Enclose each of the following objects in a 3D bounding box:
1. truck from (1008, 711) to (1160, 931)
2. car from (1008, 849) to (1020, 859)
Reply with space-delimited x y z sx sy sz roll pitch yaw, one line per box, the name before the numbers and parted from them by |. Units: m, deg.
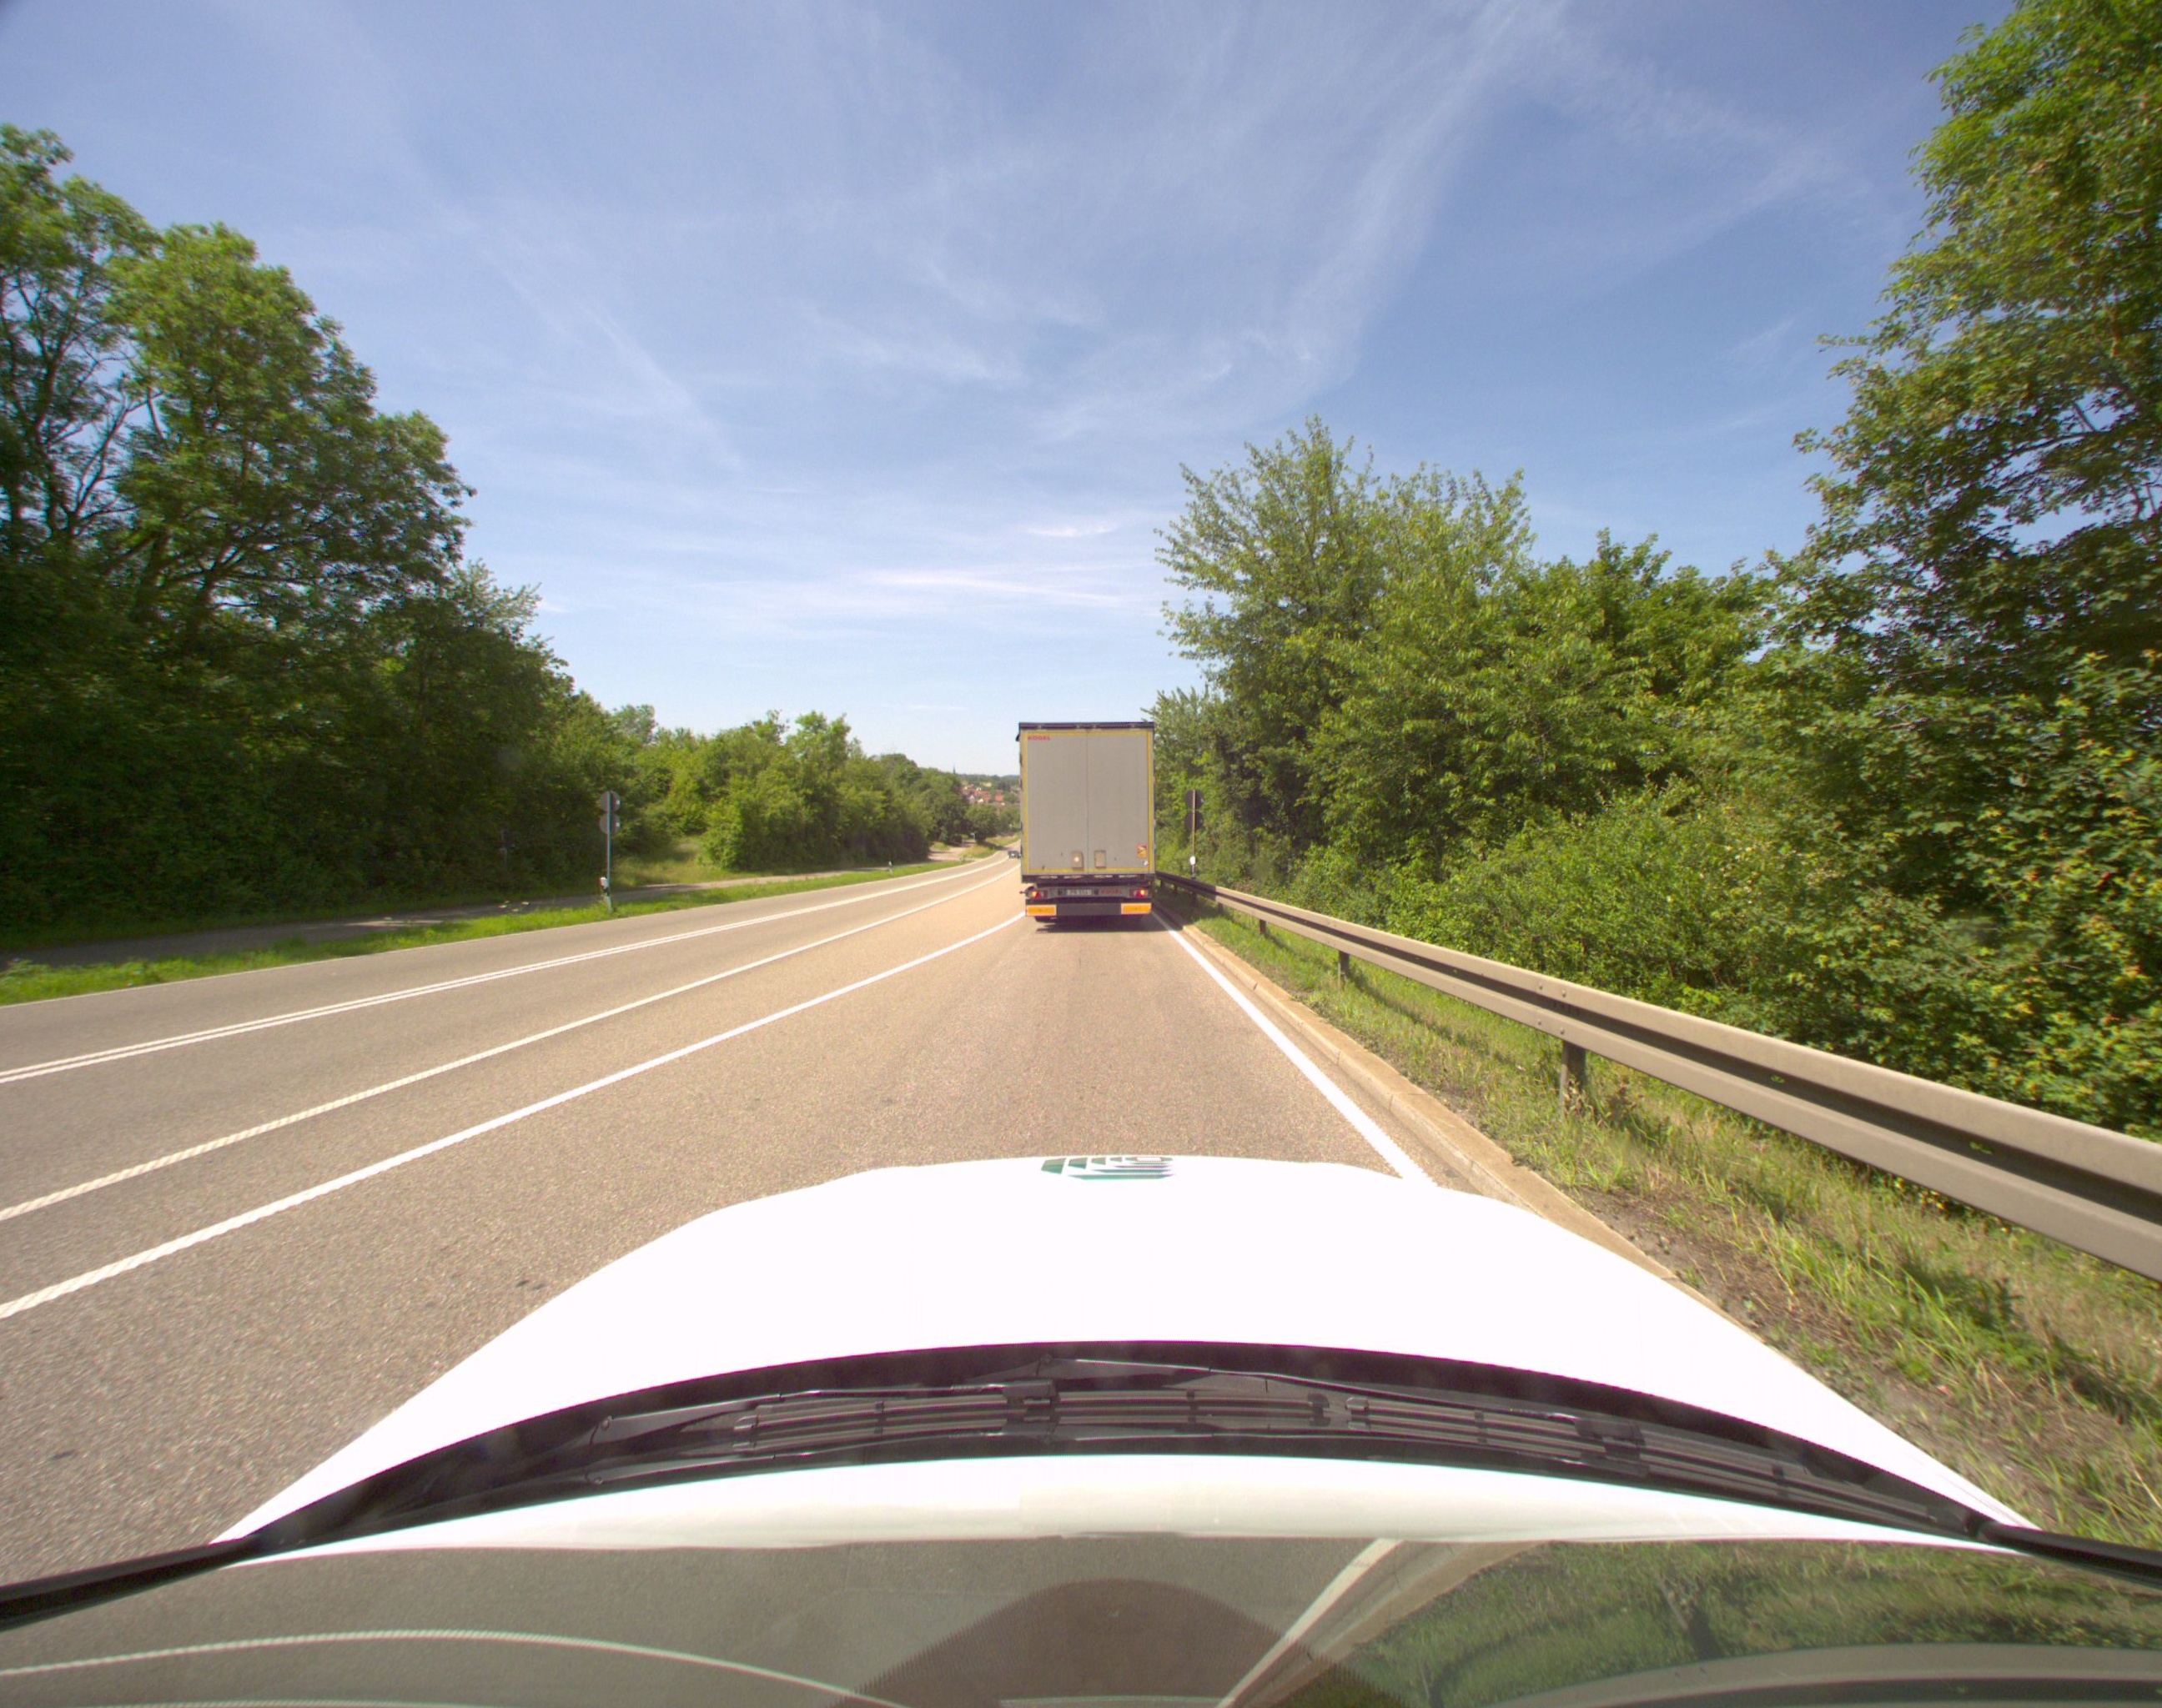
truck | 0.247 -0.643 21.047 2.747 4.029 11.929 -1 0 2
car | -12.546 0.056 152.365 1.808 1.794 3.824 -1 -1 -13
